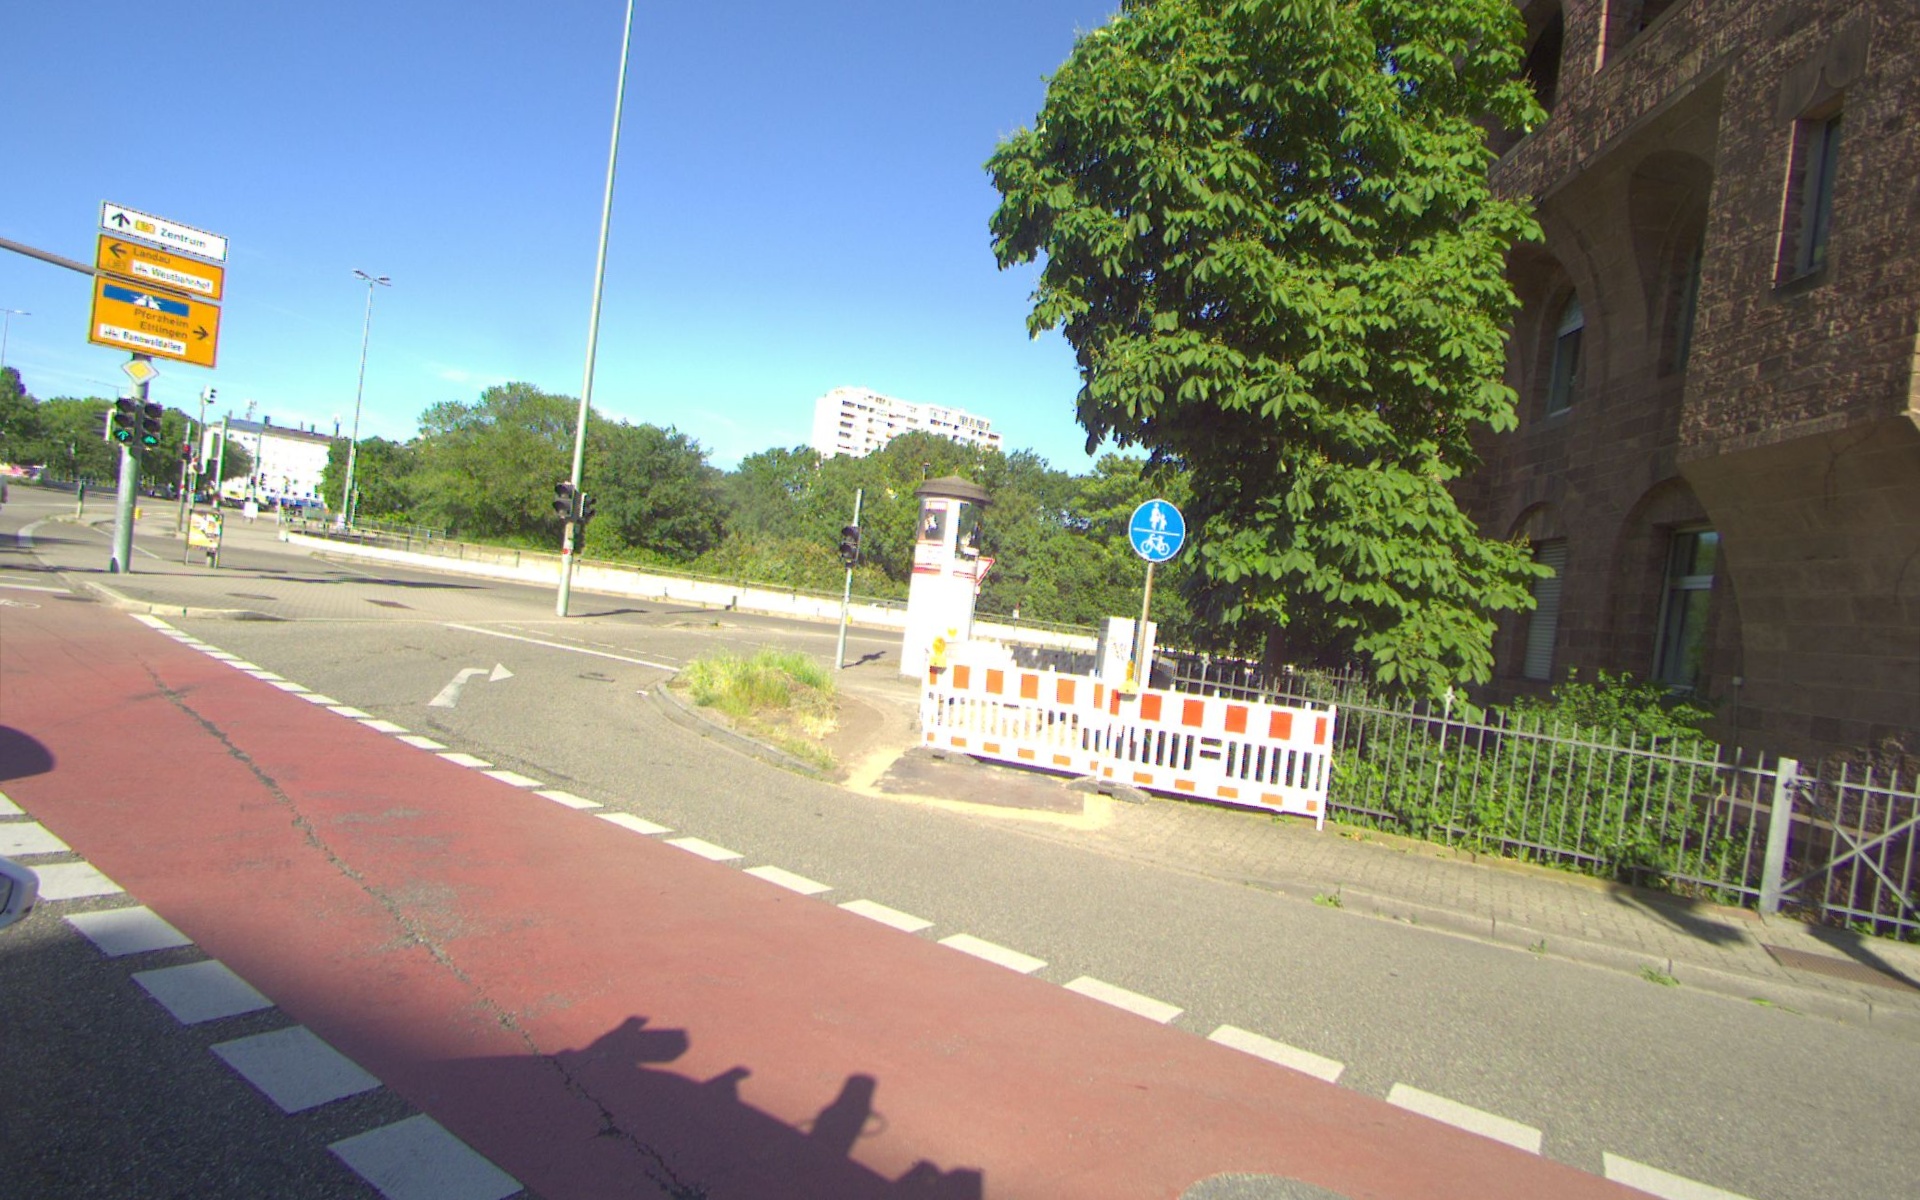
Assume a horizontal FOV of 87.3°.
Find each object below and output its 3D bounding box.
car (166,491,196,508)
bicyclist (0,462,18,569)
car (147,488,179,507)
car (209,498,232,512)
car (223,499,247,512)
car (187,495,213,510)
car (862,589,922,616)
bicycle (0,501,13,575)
[{"bbox_3d":[-87.444,-11.283,113.020,1.930,1.547,4.065,7,0,-29],"label":"car"},{"bbox_3d":[-15.837,-1.425,16.233,1.098,1.680,0.723,9,1,43],"label":"bicyclist"},{"bbox_3d":[-83.435,-10.730,105.341,1.931,1.547,4.064,7,0,-30],"label":"car"},{"bbox_3d":[-102.805,-13.144,139.809,1.930,1.547,4.065,7,0,-29],"label":"car"},{"bbox_3d":[-113.422,-14.744,157.435,1.925,1.547,4.077,7,0,-21],"label":"car"},{"bbox_3d":[-95.938,-12.310,127.095,1.930,1.547,4.065,7,0,-29],"label":"car"},{"bbox_3d":[-5.370,0.197,79.319,4.188,1.571,1.851,8,1,-22],"label":"car"},{"bbox_3d":[-15.884,-1.071,16.228,1.801,1.115,0.690,8,0,43],"label":"bicycle"}]
